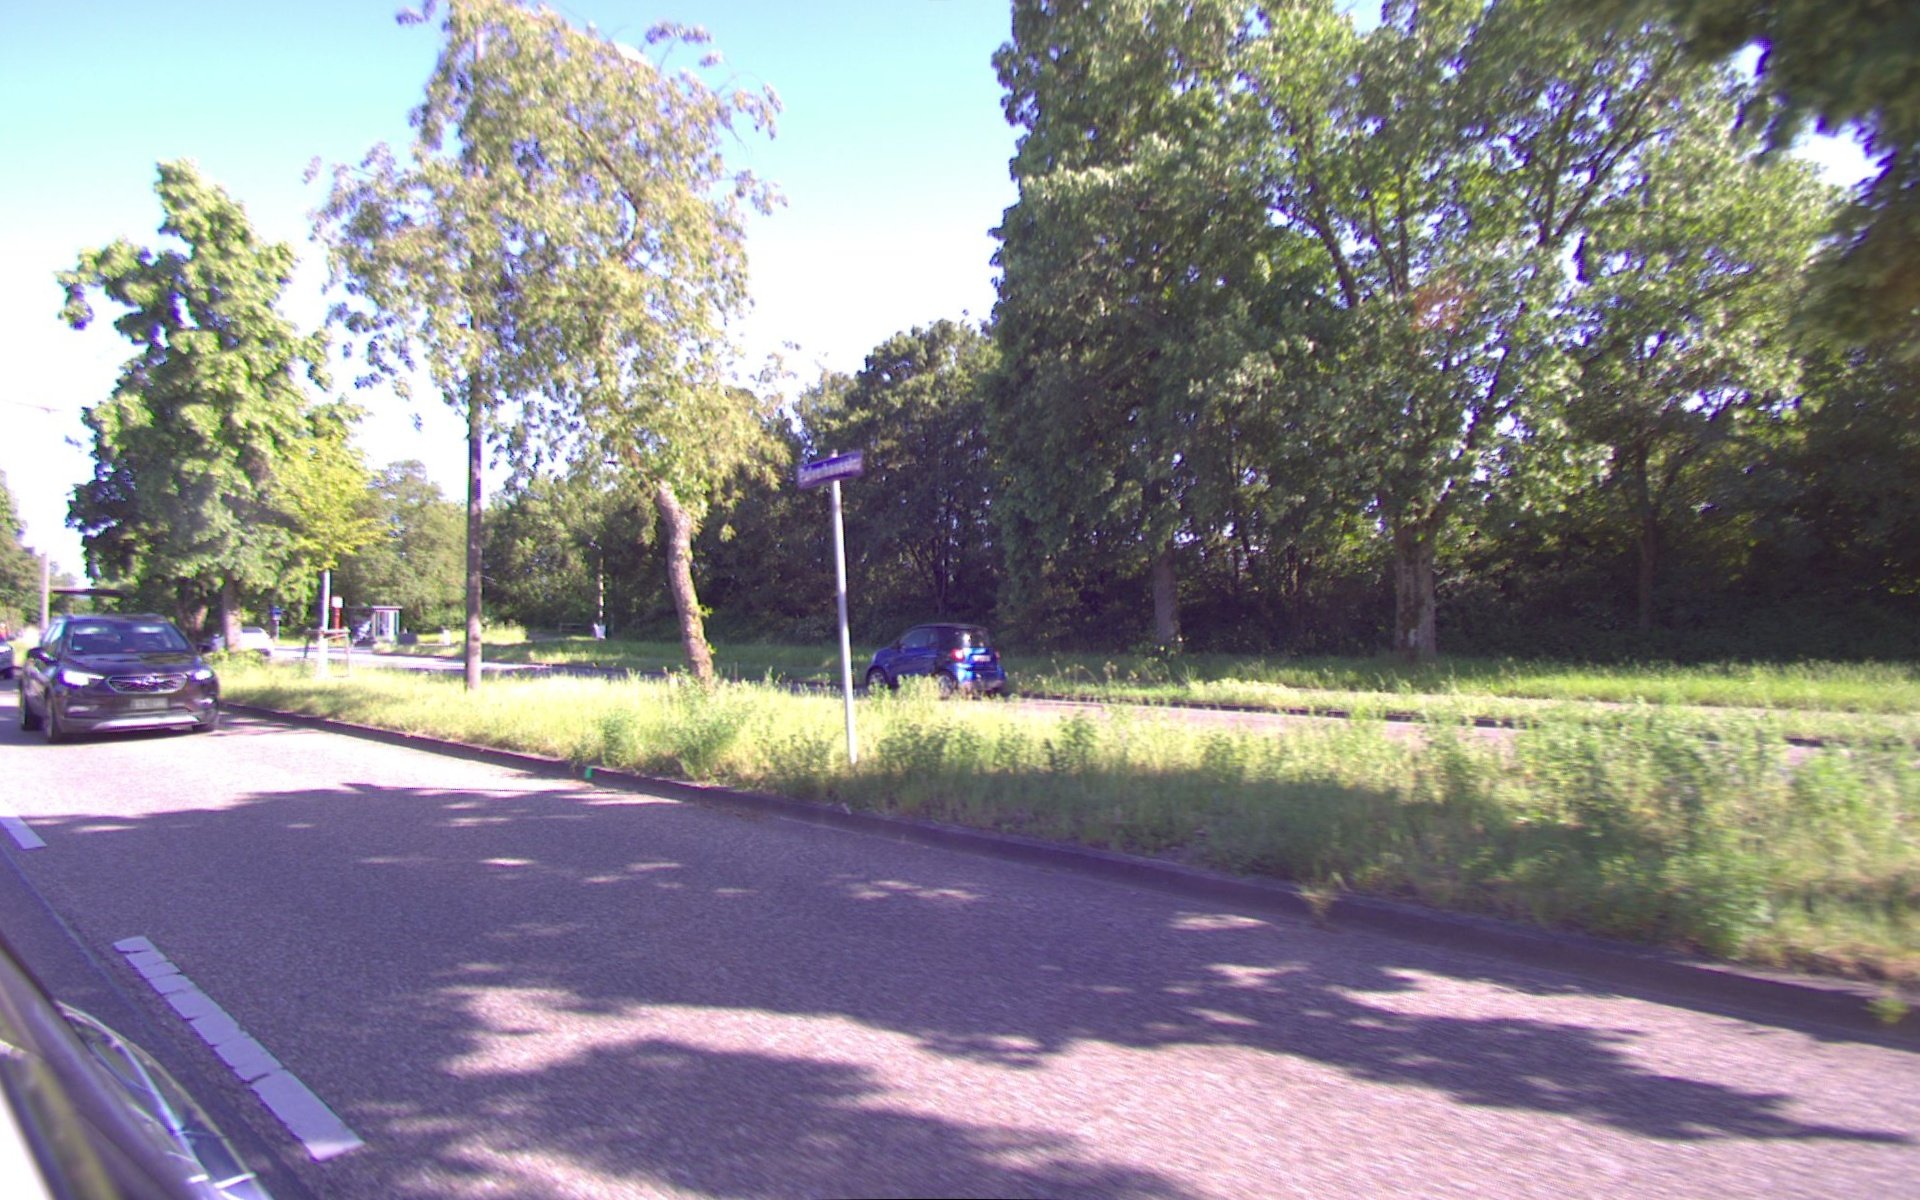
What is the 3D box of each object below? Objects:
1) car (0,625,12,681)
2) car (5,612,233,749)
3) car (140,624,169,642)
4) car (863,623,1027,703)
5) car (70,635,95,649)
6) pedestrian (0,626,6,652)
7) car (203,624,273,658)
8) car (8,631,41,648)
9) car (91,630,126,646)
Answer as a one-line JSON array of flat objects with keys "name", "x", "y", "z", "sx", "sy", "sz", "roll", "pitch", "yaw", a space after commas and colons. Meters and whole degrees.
[{"name": "car", "x": -29.080, "y": 1.570, "z": 29.467, "sx": 4.645, "sy": 1.574, "sz": 1.799, "roll": -3, "pitch": -2, "yaw": 42}, {"name": "car", "x": -11.900, "y": 1.012, "z": 14.212, "sx": 4.512, "sy": 1.627, "sz": 1.787, "roll": -2, "pitch": -1, "yaw": 41}, {"name": "car", "x": -65.180, "y": 2.678, "z": 81.869, "sx": 1.563, "sy": 1.425, "sz": 3.134, "roll": 0, "pitch": -2, "yaw": -44}, {"name": "car", "x": -0.331, "y": 1.286, "z": 21.008, "sx": 3.014, "sy": 1.517, "sz": 1.697, "roll": -2, "pitch": -4, "yaw": 40}, {"name": "car", "x": -83.644, "y": 3.989, "z": 96.484, "sx": 1.688, "sy": 1.265, "sz": 4.004, "roll": 0, "pitch": -2, "yaw": -43}, {"name": "pedestrian", "x": -61.834, "y": 2.512, "z": 64.910, "sx": 0.621, "sy": 1.709, "sz": 0.946, "roll": 0, "pitch": -2, "yaw": -18}, {"name": "car", "x": -38.805, "y": 2.213, "z": 54.325, "sx": 4.581, "sy": 1.602, "sz": 1.821, "roll": -2, "pitch": -7, "yaw": 40}, {"name": "car", "x": -80.555, "y": 3.384, "z": 87.084, "sx": 4.063, "sy": 1.483, "sz": 1.694, "roll": -2, "pitch": -3, "yaw": 42}, {"name": "car", "x": -67.861, "y": 3.024, "z": 80.636, "sx": 4.001, "sy": 1.265, "sz": 1.689, "roll": -2, "pitch": -2, "yaw": 44}]
